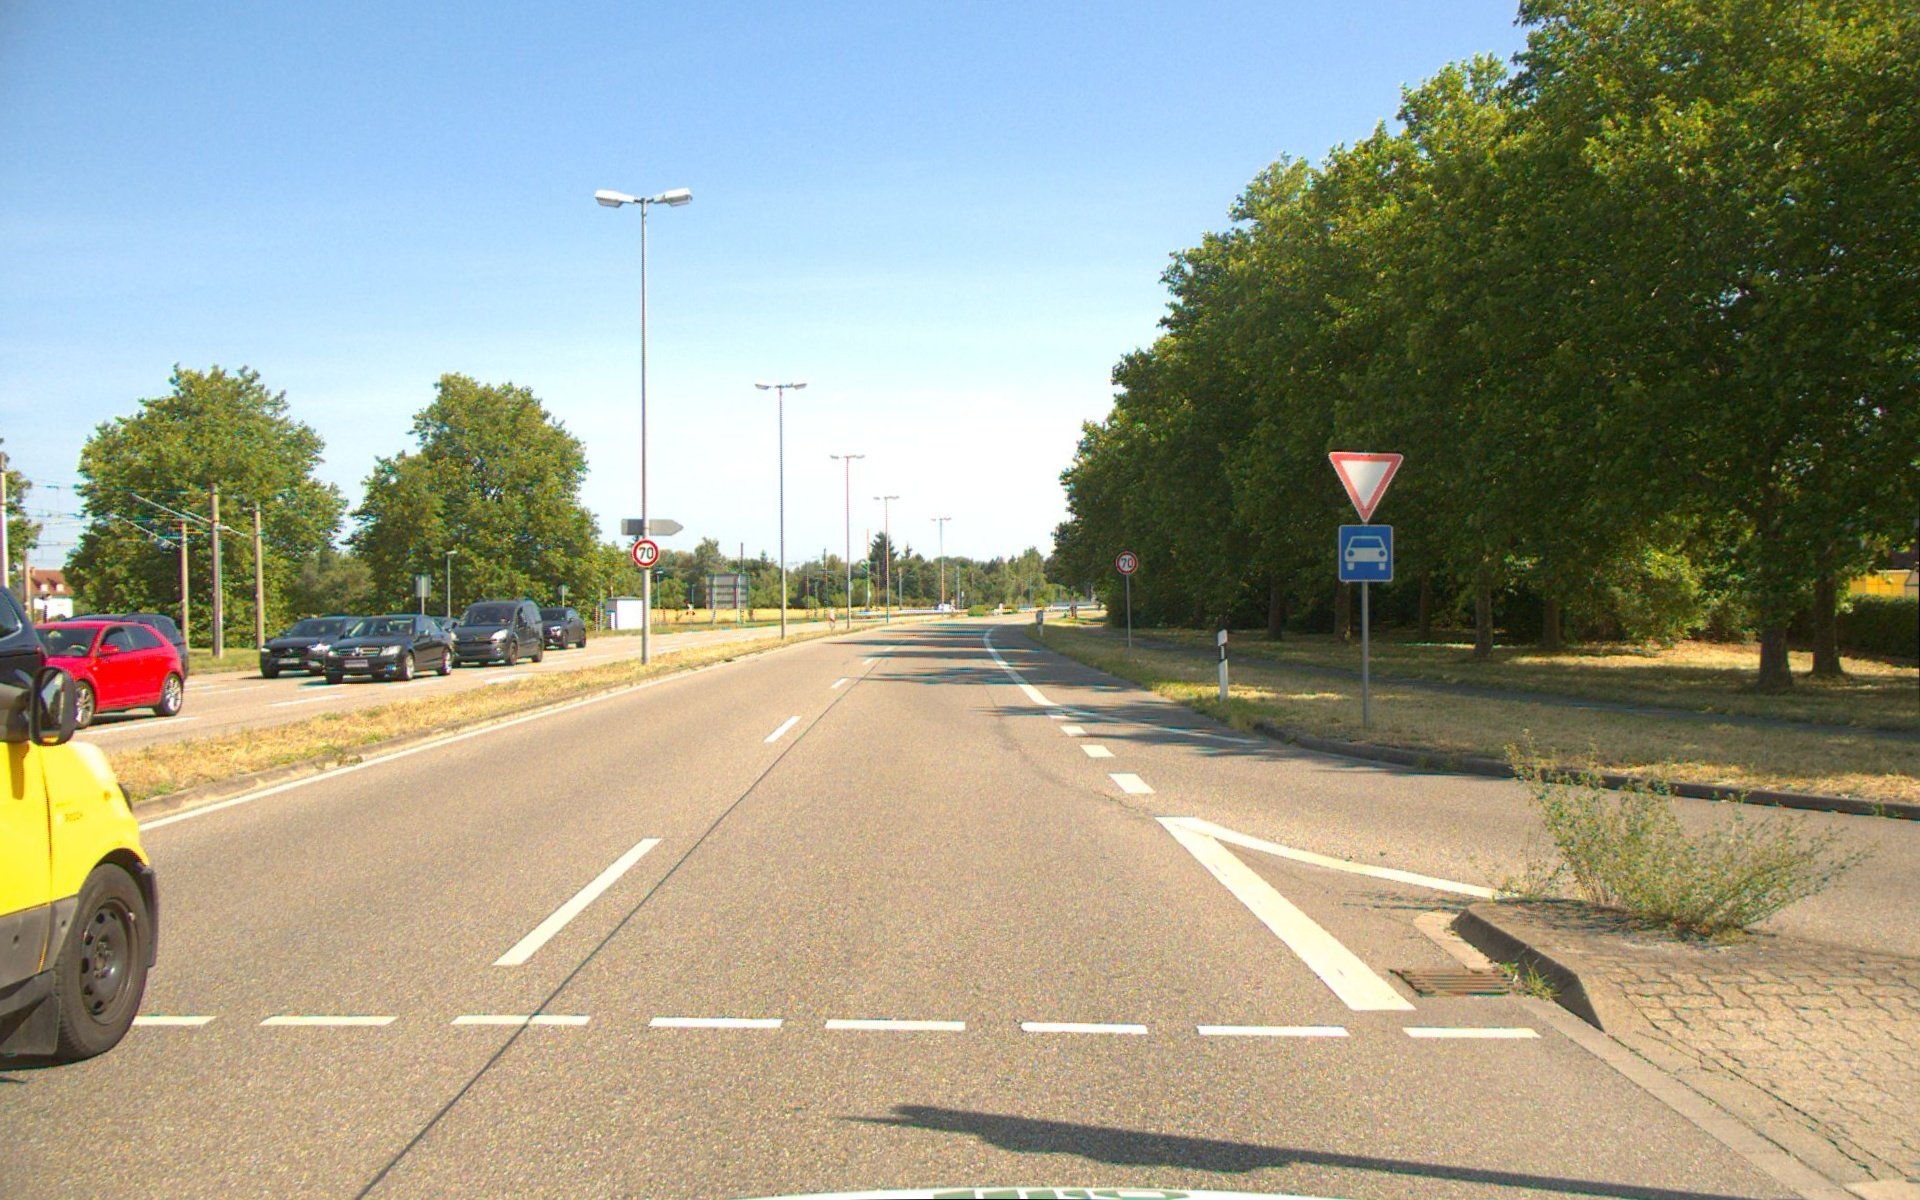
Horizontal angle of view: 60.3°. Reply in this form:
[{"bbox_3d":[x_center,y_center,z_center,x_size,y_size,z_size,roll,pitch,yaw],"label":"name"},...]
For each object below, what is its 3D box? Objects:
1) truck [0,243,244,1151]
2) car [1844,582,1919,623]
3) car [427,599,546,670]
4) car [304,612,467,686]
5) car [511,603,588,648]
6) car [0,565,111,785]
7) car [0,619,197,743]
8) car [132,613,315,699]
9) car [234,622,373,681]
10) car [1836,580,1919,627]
[{"bbox_3d":[-3.623,0.259,3.249,2.069,2.500,5.913,0,0,-3],"label":"truck"},{"bbox_3d":[37.606,0.107,65.776,3.902,1.613,2.002,0,-1,12],"label":"car"},{"bbox_3d":[-12.866,0.903,45.224,1.940,1.811,4.489,-1,0,0],"label":"car"},{"bbox_3d":[-12.578,1.030,36.508,1.940,1.483,4.451,-1,0,1],"label":"car"},{"bbox_3d":[-16.429,1.003,66.384,1.942,1.689,4.554,-1,0,0],"label":"car"},{"bbox_3d":[-8.760,0.644,12.763,1.940,1.781,4.508,-2,0,1],"label":"car"},{"bbox_3d":[-12.286,1.048,22.686,1.778,1.511,4.000,-1,0,0],"label":"car"},{"bbox_3d":[-15.973,1.156,36.133,2.030,1.651,4.488,-3,0,-2],"label":"car"},{"bbox_3d":[-16.625,1.283,42.092,1.953,1.355,3.999,-1,0,-1],"label":"car"},{"bbox_3d":[35.625,0.153,62.681,3.902,1.713,2.002,0,-1,11],"label":"car"}]
